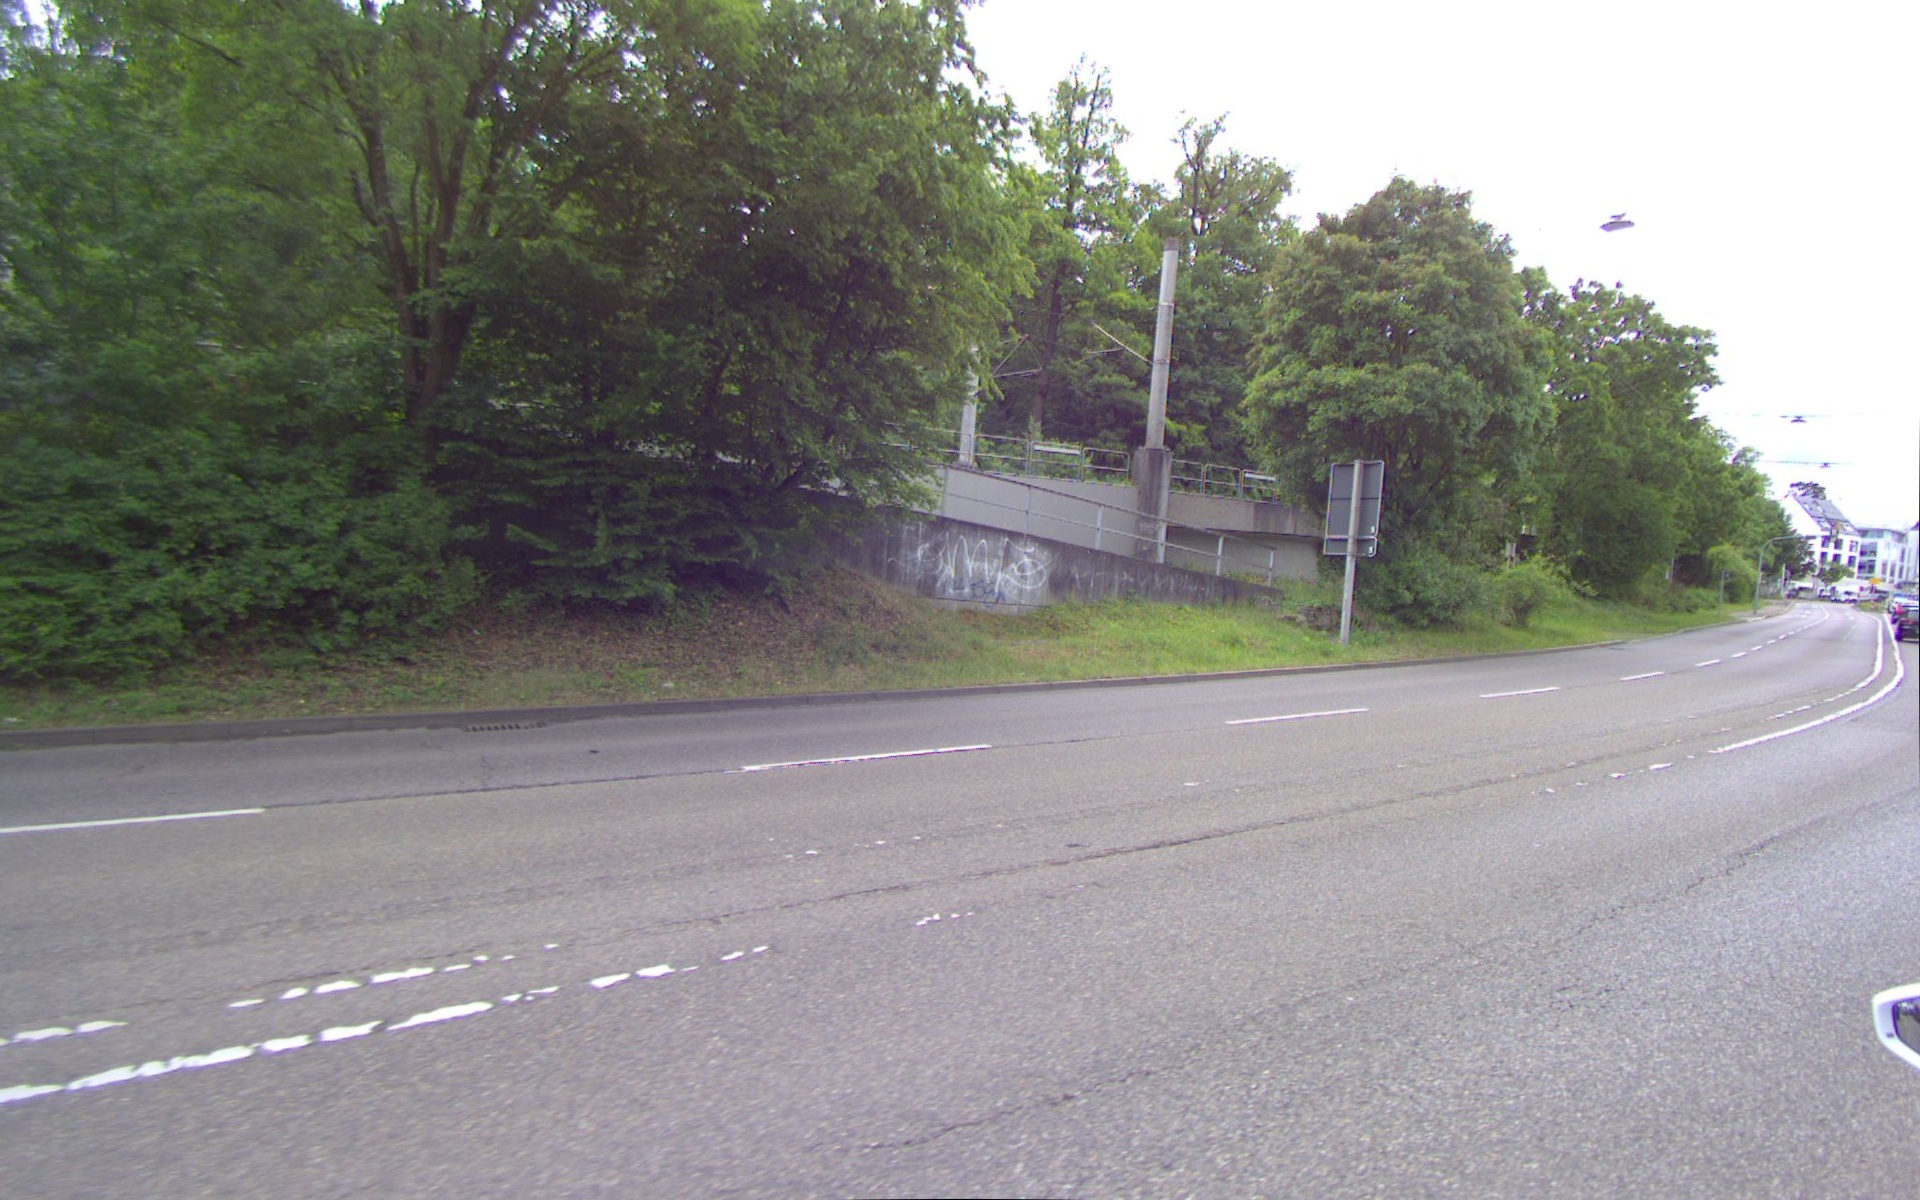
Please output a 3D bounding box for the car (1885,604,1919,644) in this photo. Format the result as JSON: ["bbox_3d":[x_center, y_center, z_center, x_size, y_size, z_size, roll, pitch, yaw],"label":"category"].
[{"bbox_3d":[40.650,1.025,42.541,1.926,1.486,3.980,5,4,40],"label":"car"}]

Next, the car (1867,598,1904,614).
[{"bbox_3d":[97.919,0.590,106.250,3.960,1.548,1.980,0,4,-35],"label":"car"}]

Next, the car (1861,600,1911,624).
[{"bbox_3d":[64.273,0.820,69.685,3.966,1.507,1.977,0,4,-40],"label":"car"}]

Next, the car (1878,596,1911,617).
[{"bbox_3d":[79.981,0.518,85.956,3.971,1.611,1.694,-1,4,-43],"label":"car"}]
